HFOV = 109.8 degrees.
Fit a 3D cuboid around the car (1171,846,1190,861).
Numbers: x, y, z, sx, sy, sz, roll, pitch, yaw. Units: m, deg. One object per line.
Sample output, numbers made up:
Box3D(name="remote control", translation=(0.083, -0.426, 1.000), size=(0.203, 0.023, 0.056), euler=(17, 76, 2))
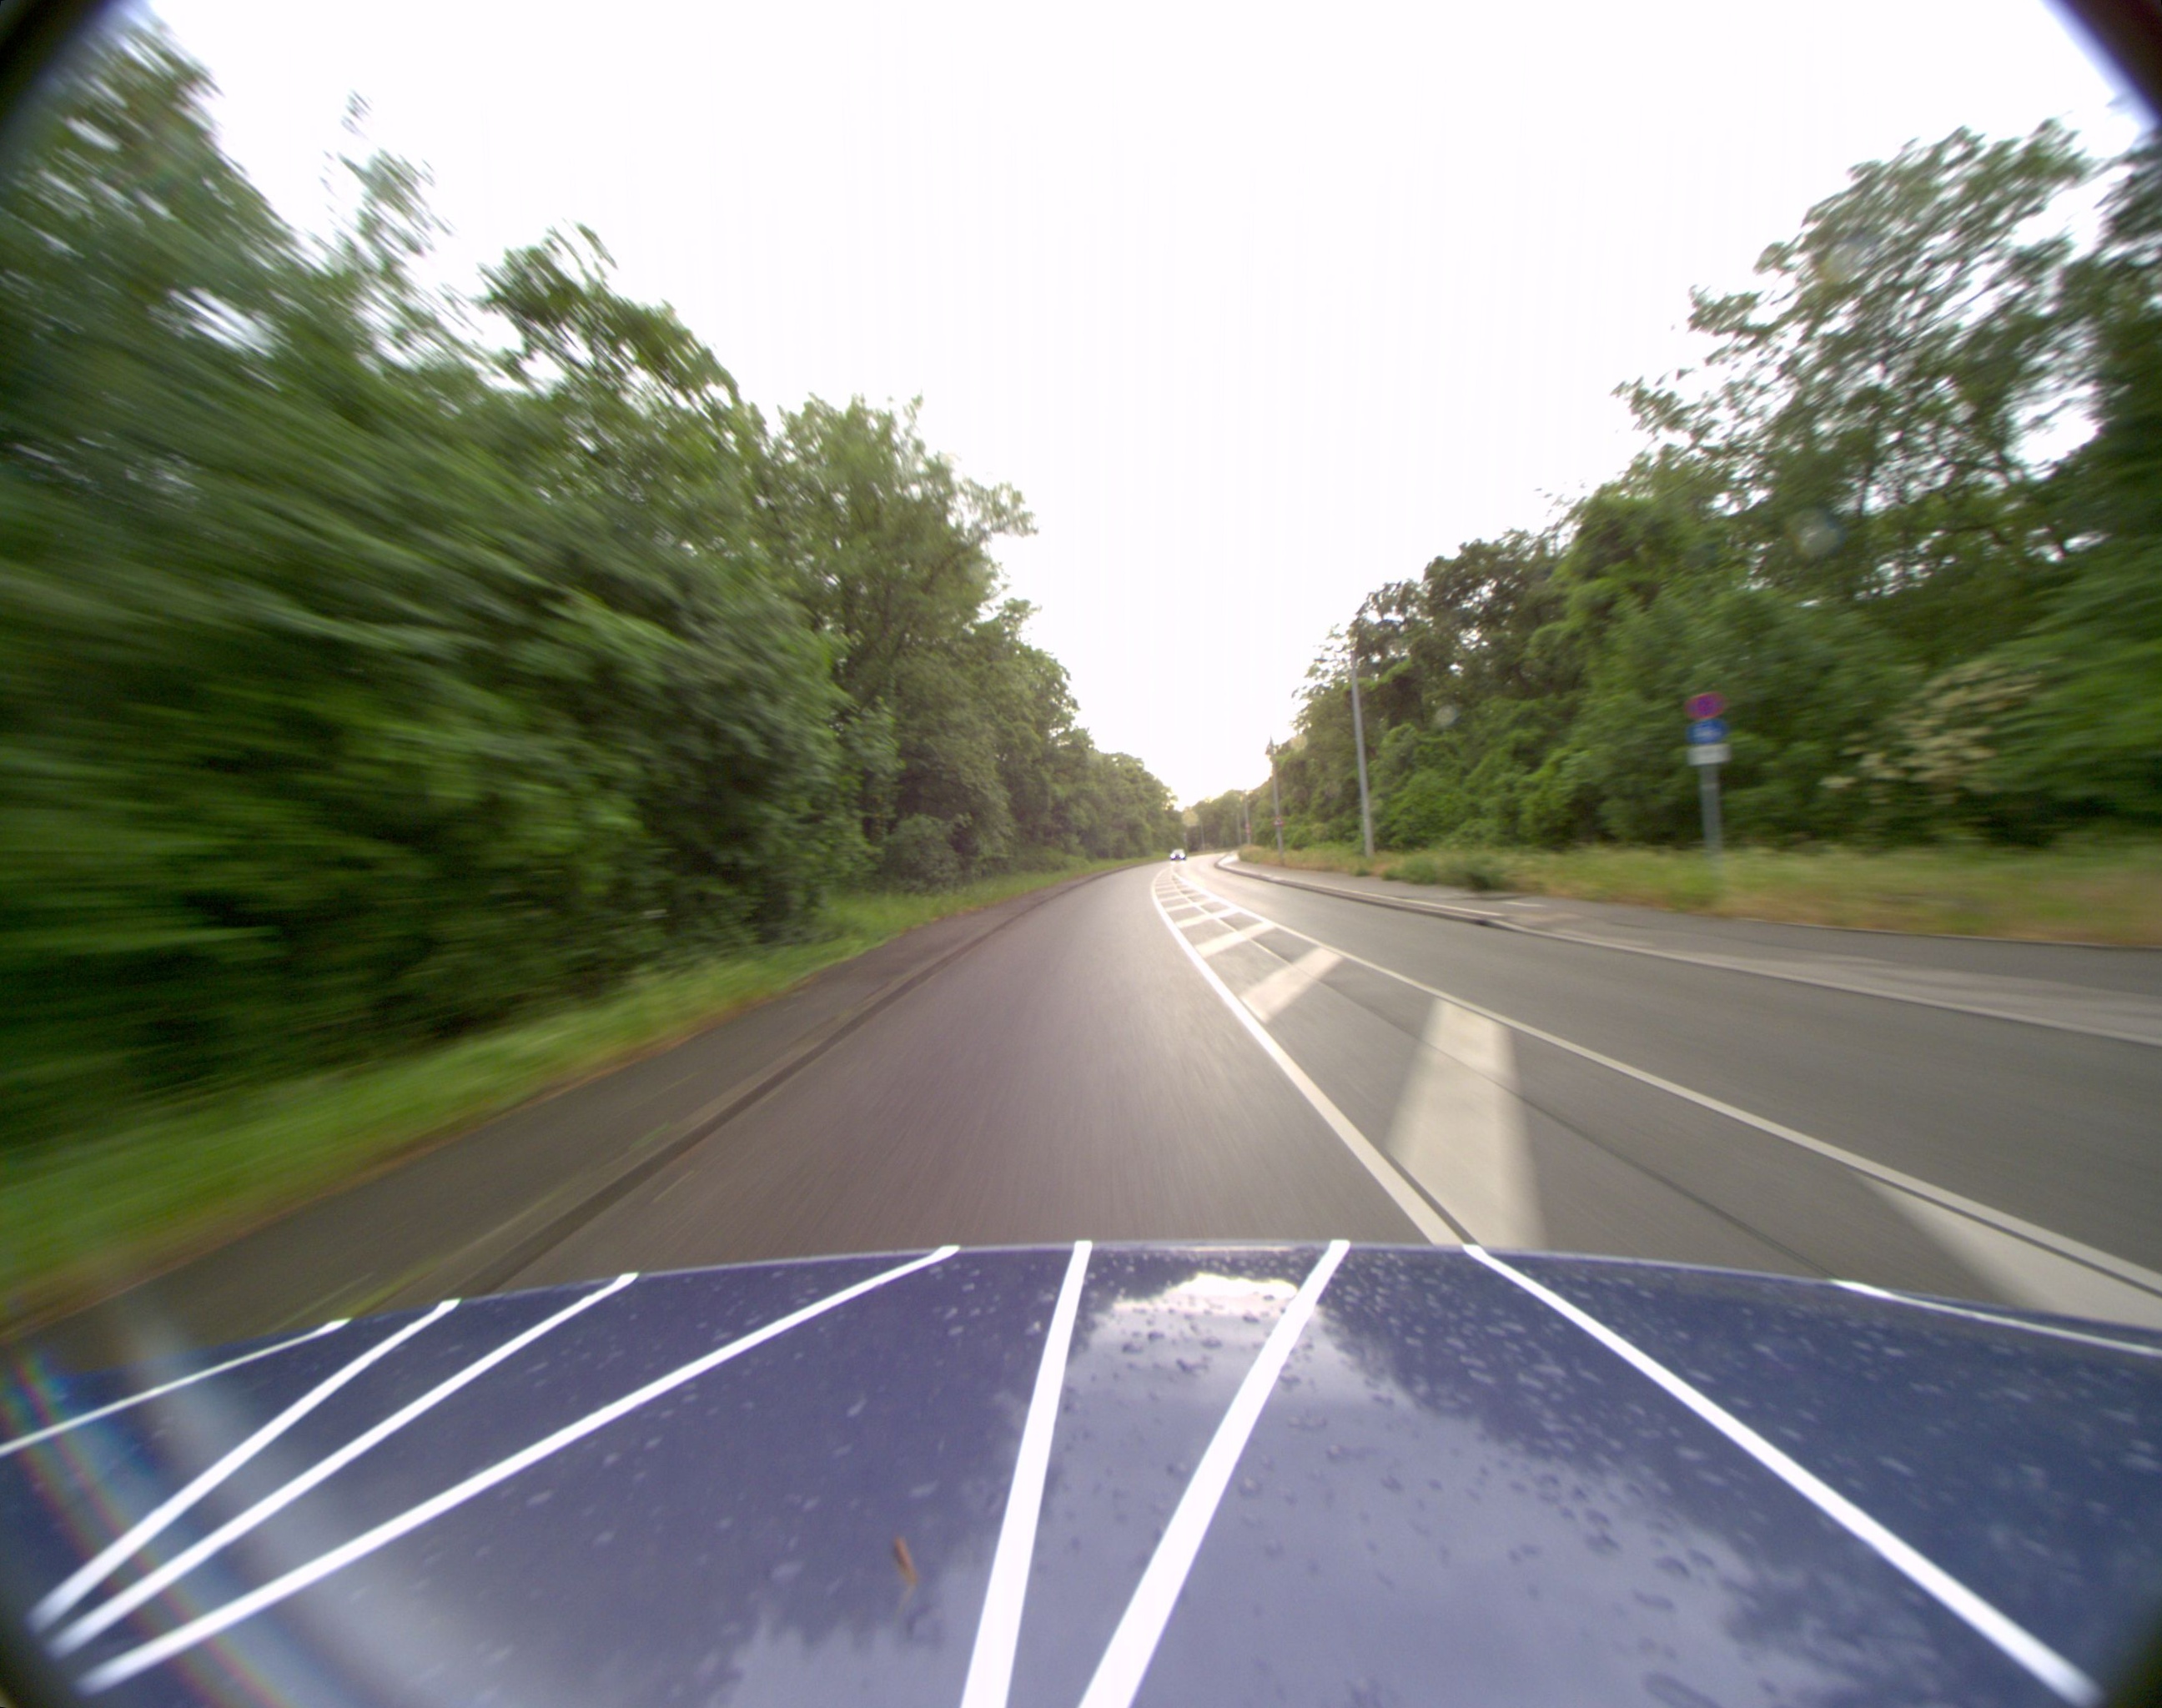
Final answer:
Box3D(name="car", translation=(12.782, -0.092, 97.335), size=(1.997, 1.674, 4.003), euler=(-3, 1, 12))
